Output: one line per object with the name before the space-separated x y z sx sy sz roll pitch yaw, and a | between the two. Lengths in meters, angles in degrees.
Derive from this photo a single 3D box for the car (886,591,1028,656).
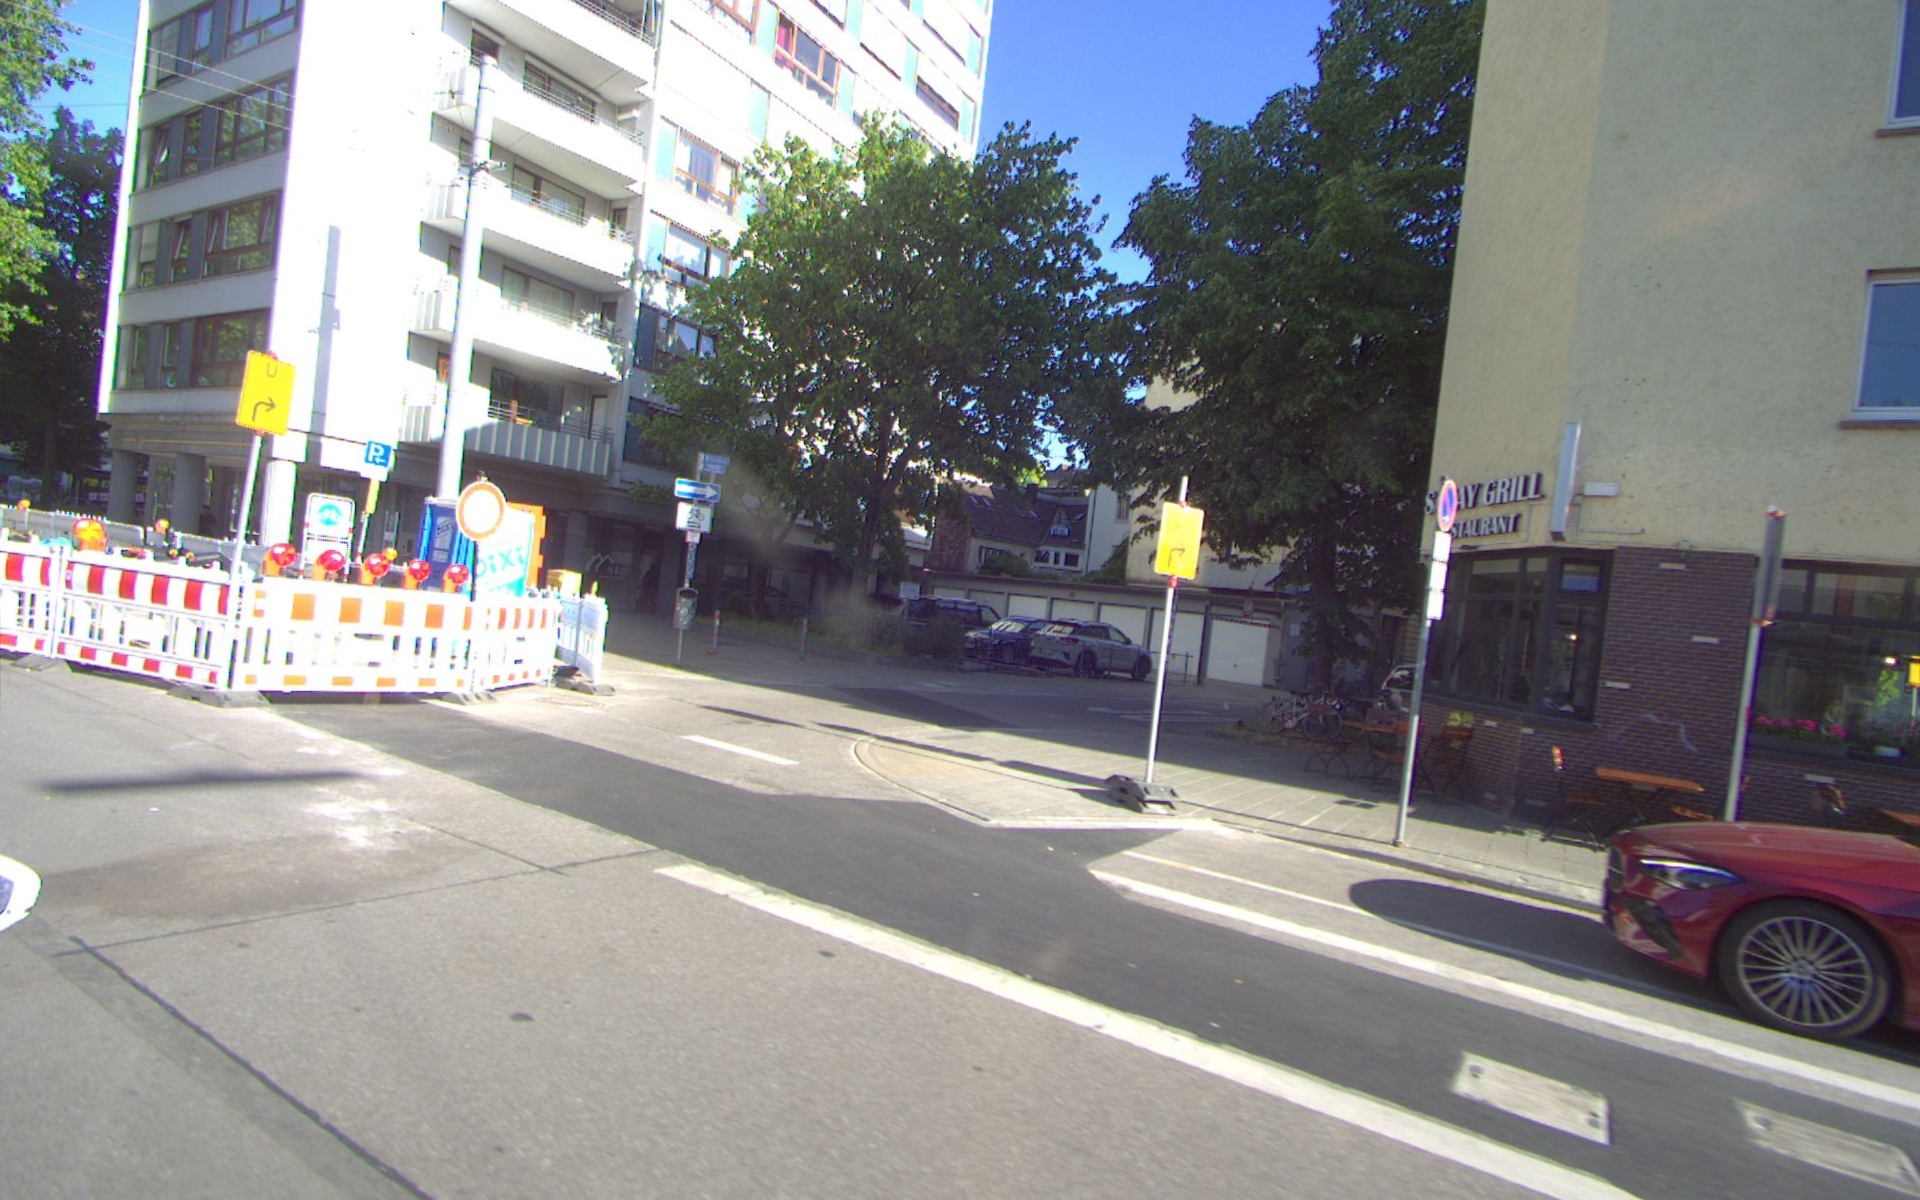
car | -0.046 0.780 32.980 4.204 1.624 2.130 7 0 -42

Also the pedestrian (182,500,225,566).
pedestrian | -22.263 -1.962 29.620 0.654 1.838 0.690 7 1 32

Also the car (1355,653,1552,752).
car | 10.646 2.230 21.604 4.212 1.662 1.979 7 1 -37

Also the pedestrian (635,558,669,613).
pedestrian | -11.214 -0.517 36.617 0.667 1.875 0.656 7 -2 34

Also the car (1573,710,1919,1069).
car | 6.063 1.672 4.932 5.075 1.460 1.873 7 0 33

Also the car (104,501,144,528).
car | -63.062 -6.454 75.845 1.987 1.690 4.688 6 0 -43

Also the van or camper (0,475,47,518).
van or camper | -66.848 -7.392 71.901 2.139 2.669 5.522 6 0 -42

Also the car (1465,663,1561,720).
car | 21.786 3.627 39.560 4.221 1.846 1.975 7 1 -44

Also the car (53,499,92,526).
car | -65.073 -6.424 73.729 1.987 1.690 4.688 6 0 -43

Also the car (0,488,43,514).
car | -74.790 -7.891 78.677 4.366 1.664 1.976 7 0 -42

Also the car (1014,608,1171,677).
car | 3.906 1.252 29.281 4.343 1.504 1.969 7 0 -39

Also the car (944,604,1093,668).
car | 1.836 1.123 30.767 4.250 1.435 2.068 7 0 -42

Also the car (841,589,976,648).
car | -1.754 0.662 35.166 4.465 1.542 1.818 7 0 -42

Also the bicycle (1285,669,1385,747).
bicycle | 6.649 1.897 17.941 0.364 1.096 1.933 6 0 -21

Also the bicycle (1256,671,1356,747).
bicycle | 5.956 1.857 17.436 0.364 1.017 1.933 6 1 -21

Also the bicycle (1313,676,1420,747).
bicycle | 7.828 2.146 19.443 1.792 1.096 0.369 7 1 18

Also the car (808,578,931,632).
car | -3.686 0.196 40.899 4.420 1.657 2.151 7 0 30
